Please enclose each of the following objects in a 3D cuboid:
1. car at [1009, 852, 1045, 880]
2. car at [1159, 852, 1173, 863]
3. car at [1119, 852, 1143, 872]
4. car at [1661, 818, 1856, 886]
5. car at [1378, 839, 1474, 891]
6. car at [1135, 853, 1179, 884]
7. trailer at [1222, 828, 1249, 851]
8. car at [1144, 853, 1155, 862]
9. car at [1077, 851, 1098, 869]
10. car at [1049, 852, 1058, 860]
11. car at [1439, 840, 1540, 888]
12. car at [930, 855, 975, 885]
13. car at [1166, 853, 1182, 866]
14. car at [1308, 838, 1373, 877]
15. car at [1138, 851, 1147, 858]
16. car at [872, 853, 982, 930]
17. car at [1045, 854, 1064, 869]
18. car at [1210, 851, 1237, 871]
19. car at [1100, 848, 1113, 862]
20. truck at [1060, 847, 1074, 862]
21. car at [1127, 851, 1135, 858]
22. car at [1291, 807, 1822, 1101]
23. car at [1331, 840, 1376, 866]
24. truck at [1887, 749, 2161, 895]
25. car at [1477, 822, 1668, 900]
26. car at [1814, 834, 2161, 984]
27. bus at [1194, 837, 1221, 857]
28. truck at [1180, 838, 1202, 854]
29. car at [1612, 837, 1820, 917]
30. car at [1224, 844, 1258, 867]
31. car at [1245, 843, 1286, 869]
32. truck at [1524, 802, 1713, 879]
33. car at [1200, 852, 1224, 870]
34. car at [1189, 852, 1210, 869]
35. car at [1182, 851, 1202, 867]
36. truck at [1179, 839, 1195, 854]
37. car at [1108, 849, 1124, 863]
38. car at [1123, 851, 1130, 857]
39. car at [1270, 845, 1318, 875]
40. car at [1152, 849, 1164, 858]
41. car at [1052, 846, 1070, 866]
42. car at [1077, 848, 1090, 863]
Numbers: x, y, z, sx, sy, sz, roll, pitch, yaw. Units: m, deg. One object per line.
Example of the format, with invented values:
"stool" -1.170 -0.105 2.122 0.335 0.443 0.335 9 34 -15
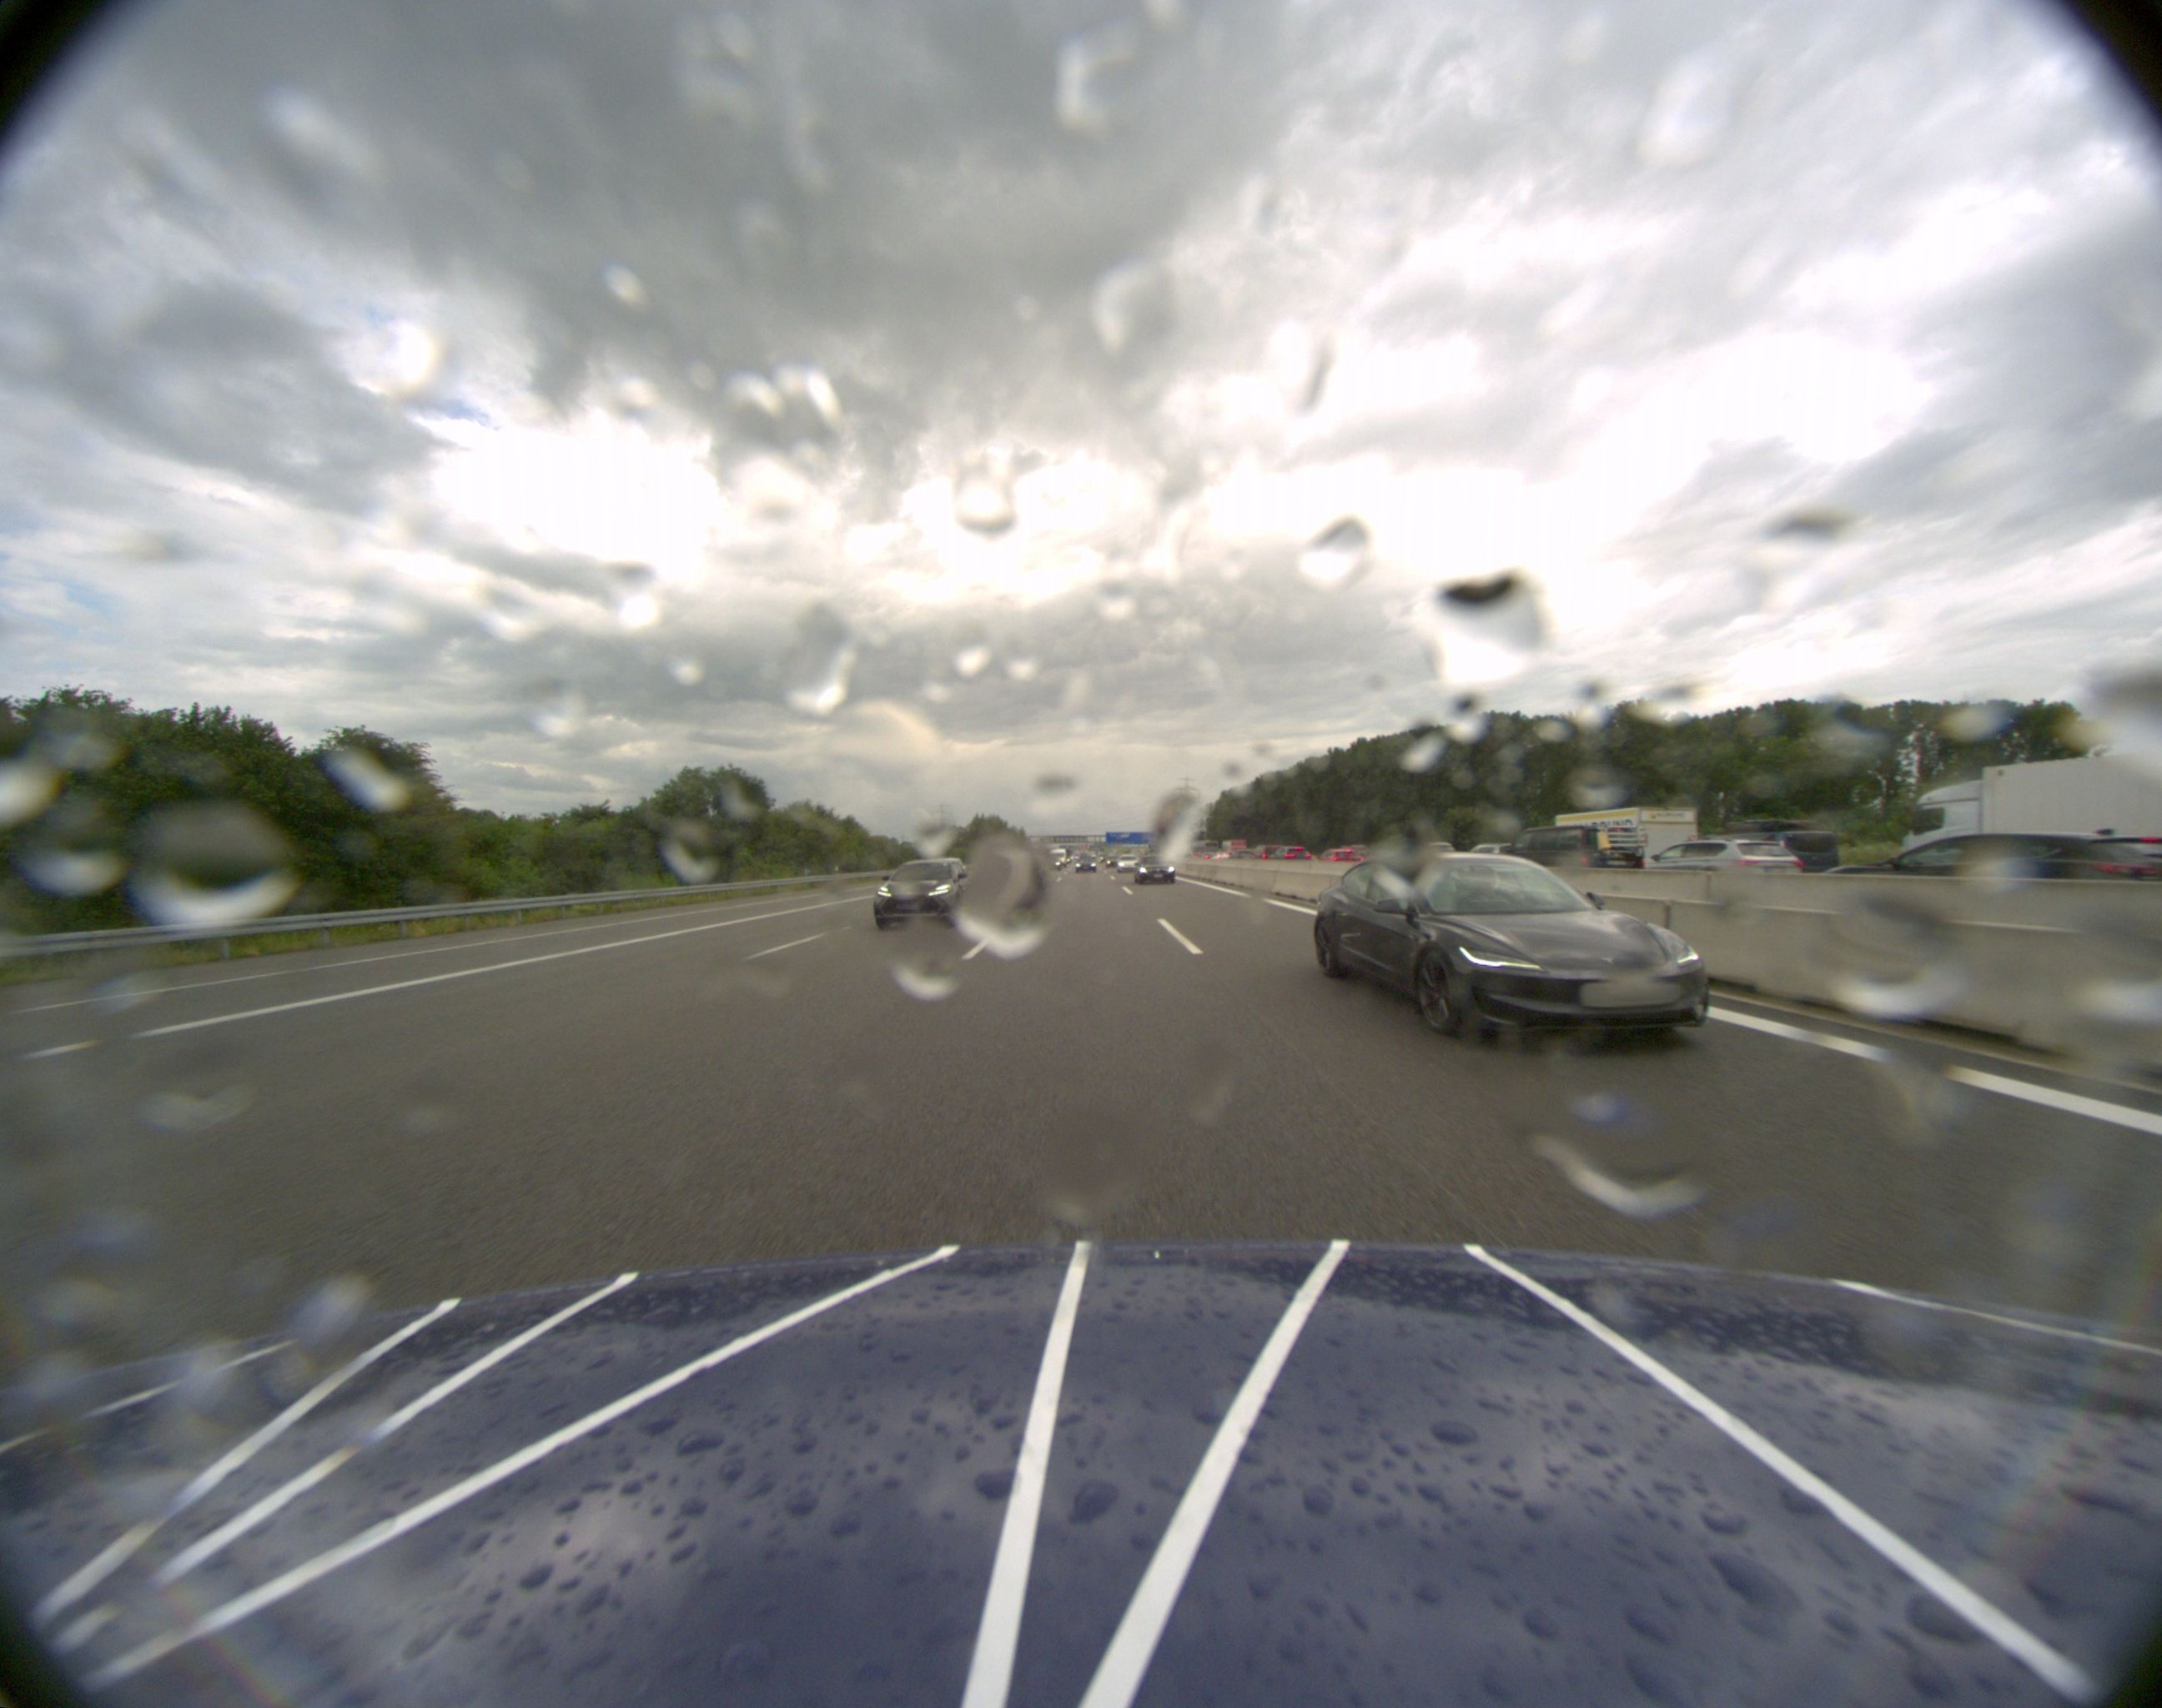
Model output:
"car" -3.350 0.718 47.941 1.711 1.621 4.457 -2 0 2
"car" 15.005 0.619 134.829 1.998 1.955 4.696 -2 0 0
"car" 4.146 0.664 63.600 1.822 1.565 4.000 -2 0 1
"car" 22.302 -0.066 25.382 1.998 2.002 5.098 -2 0 1
"car" 14.311 0.423 31.843 1.998 2.002 4.425 -2 0 1
"car" 3.787 0.693 38.299 1.922 1.407 4.001 -1 0 2
"trailer" 26.844 -2.419 132.337 2.867 3.740 9.160 -1 0 0
"car" 15.243 0.733 170.181 1.998 1.955 4.696 -2 0 0
"car" 0.608 0.515 68.383 1.711 1.562 4.347 -2 0 2
"car" -6.726 0.421 188.048 1.999 2.002 4.354 -2 0 -1
"car" 18.403 0.421 34.514 1.998 2.002 4.813 -2 0 1
"car" -7.397 0.870 44.139 1.815 1.589 4.695 -2 0 -1
"car" 14.831 0.866 121.652 1.998 1.955 4.696 -2 0 0
"car" 14.413 0.194 42.512 1.998 2.002 4.686 -2 0 0
"car" 15.696 0.048 193.777 1.808 1.709 4.000 -2 0 0
"car" -3.633 0.811 18.792 1.785 1.603 4.597 -2 0 -1
"car" -2.779 0.803 81.328 1.945 1.482 4.774 -2 0 -2
"car" 15.297 0.754 81.838 1.998 2.002 4.972 -2 0 0
"car" 4.482 0.153 133.462 2.145 2.486 5.448 -2 0 2
"truck" -2.721 0.113 144.062 2.392 2.726 6.592 -2 0 -2
"car" 14.471 0.089 219.948 1.999 2.002 4.264 -2 0 0
"car" 3.725 0.635 7.399 1.998 1.810 5.163 -2 0 1
"car" 22.408 -0.106 62.655 1.998 2.002 4.686 -2 0 0
"truck" 28.108 -0.826 20.047 2.885 3.591 10.312 -2 0 2
"car" 14.395 0.176 22.811 1.998 2.002 5.757 -2 0 0
"car" 13.491 0.627 10.950 1.998 1.739 4.000 -2 0 1
"bus" 22.750 -1.233 137.458 2.694 3.365 13.997 -2 0 0
"truck" 26.717 -1.917 185.029 3.156 3.723 13.298 -2 0 0
"car" 18.014 0.598 21.950 1.998 2.002 4.813 -2 0 1
"car" 14.954 0.168 71.196 1.998 2.002 5.418 -2 0 0
"car" 14.937 0.139 61.798 1.998 2.002 5.418 -2 0 0
"truck" 26.239 -0.597 37.890 2.917 3.271 9.201 -2 0 1
"car" 15.129 0.796 87.944 1.998 2.002 4.349 -2 0 0
"car" 15.012 0.777 96.565 1.998 2.002 4.696 -2 0 0
"car" 14.986 0.655 102.811 1.998 1.955 4.696 -2 0 0
"truck" 26.751 -1.941 191.490 3.158 3.690 6.318 -2 0 1
"car" 4.030 0.229 87.711 1.711 1.621 4.000 -2 0 2
"car" 15.388 0.064 257.702 1.999 2.002 5.181 -2 0 -1
"car" 14.426 0.378 51.641 1.998 1.892 4.503 -2 0 1
"car" 19.492 -0.049 193.273 2.265 2.152 6.817 -2 0 0
"car" -2.571 0.191 99.664 2.145 2.486 5.448 -2 0 0
"car" 0.425 0.248 132.677 2.145 2.486 5.448 -2 0 1
